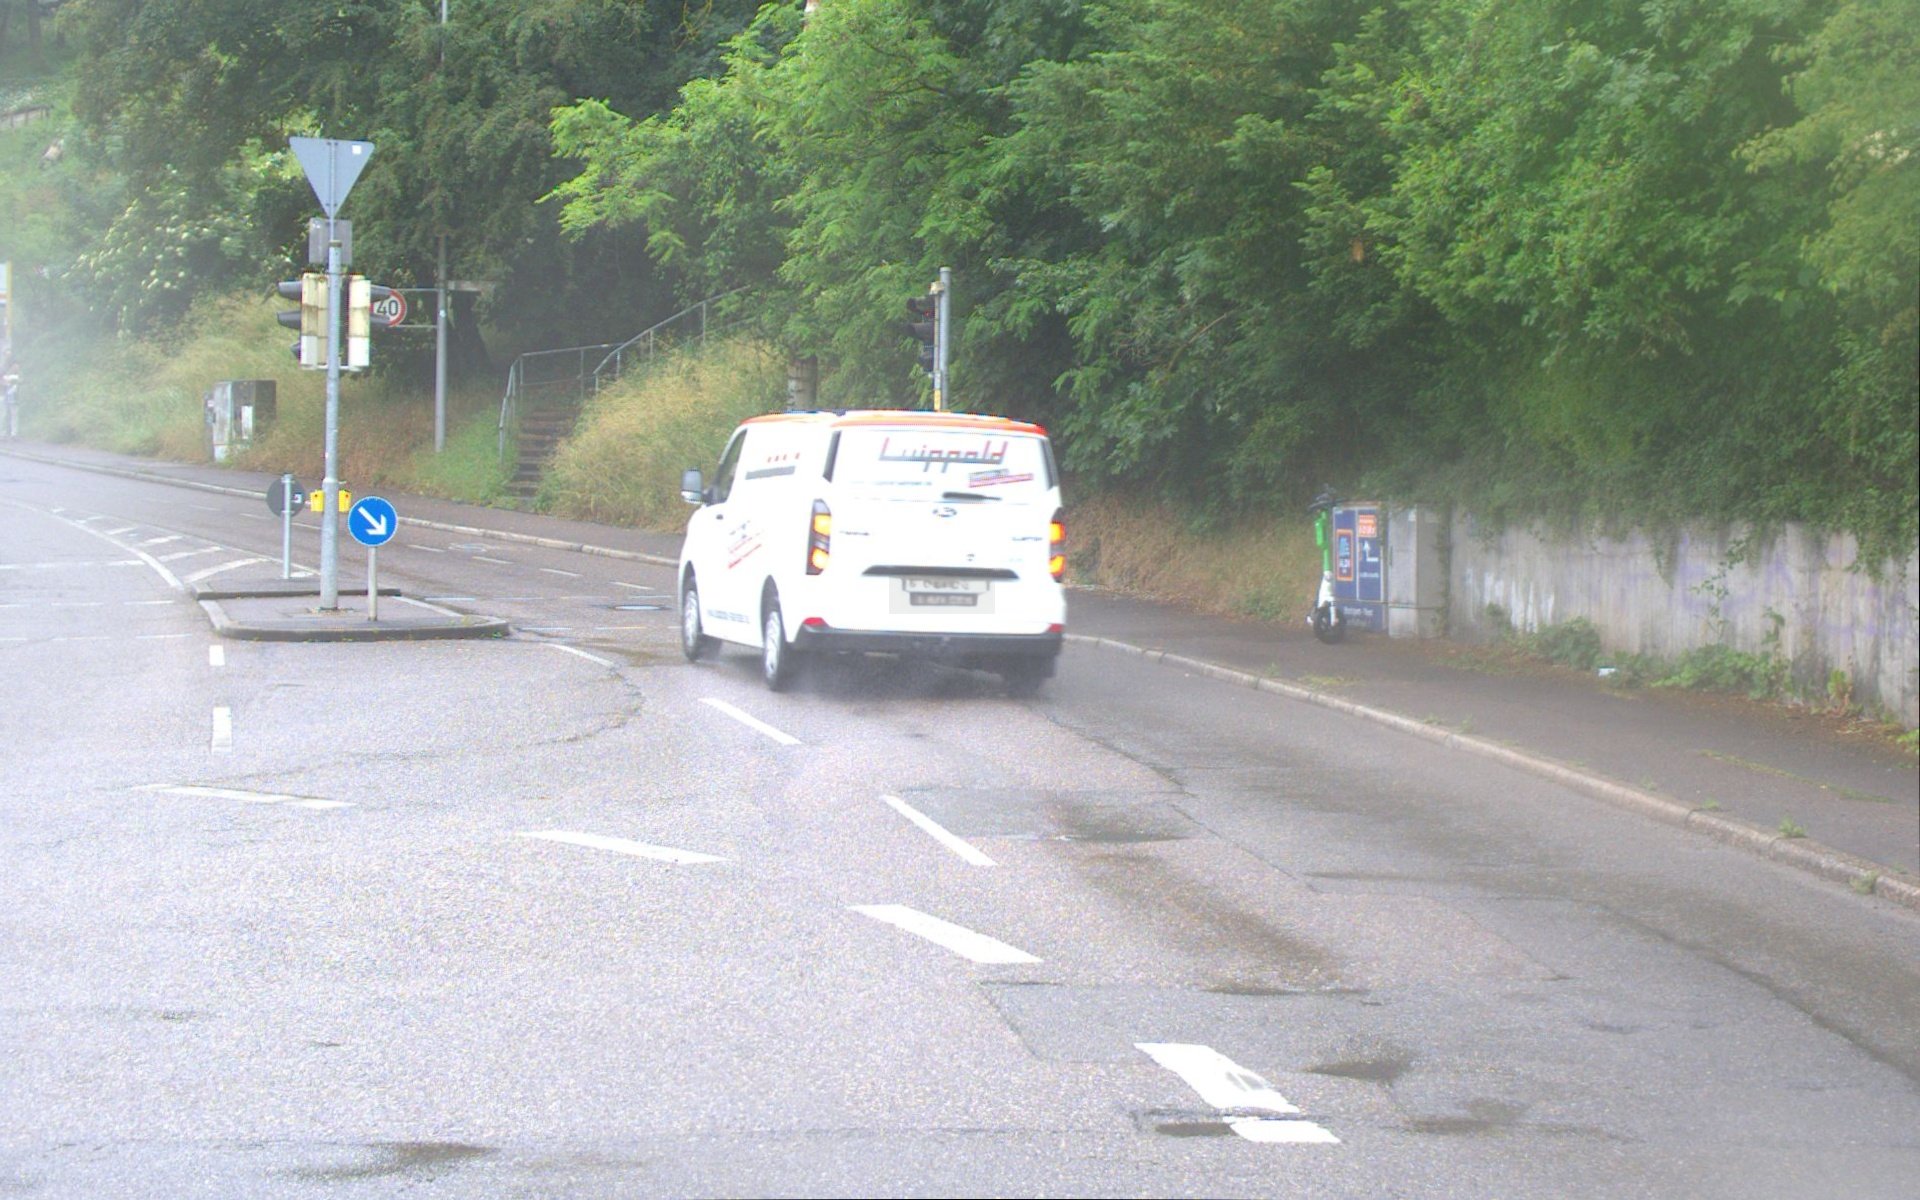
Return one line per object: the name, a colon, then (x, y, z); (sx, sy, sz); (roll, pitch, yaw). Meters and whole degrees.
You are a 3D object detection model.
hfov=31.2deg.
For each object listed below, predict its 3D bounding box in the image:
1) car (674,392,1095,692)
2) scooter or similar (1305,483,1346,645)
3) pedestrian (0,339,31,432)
car: (-0.687, -0.470, 25.500); (2.065, 1.999, 4.816); (0, 2, -14)
scooter or similar: (2.967, -0.297, 27.918); (0.322, 1.275, 0.751); (0, 4, 6)
pedestrian: (-18.381, -4.120, 66.221); (0.880, 1.730, 0.866); (0, 0, -18)
